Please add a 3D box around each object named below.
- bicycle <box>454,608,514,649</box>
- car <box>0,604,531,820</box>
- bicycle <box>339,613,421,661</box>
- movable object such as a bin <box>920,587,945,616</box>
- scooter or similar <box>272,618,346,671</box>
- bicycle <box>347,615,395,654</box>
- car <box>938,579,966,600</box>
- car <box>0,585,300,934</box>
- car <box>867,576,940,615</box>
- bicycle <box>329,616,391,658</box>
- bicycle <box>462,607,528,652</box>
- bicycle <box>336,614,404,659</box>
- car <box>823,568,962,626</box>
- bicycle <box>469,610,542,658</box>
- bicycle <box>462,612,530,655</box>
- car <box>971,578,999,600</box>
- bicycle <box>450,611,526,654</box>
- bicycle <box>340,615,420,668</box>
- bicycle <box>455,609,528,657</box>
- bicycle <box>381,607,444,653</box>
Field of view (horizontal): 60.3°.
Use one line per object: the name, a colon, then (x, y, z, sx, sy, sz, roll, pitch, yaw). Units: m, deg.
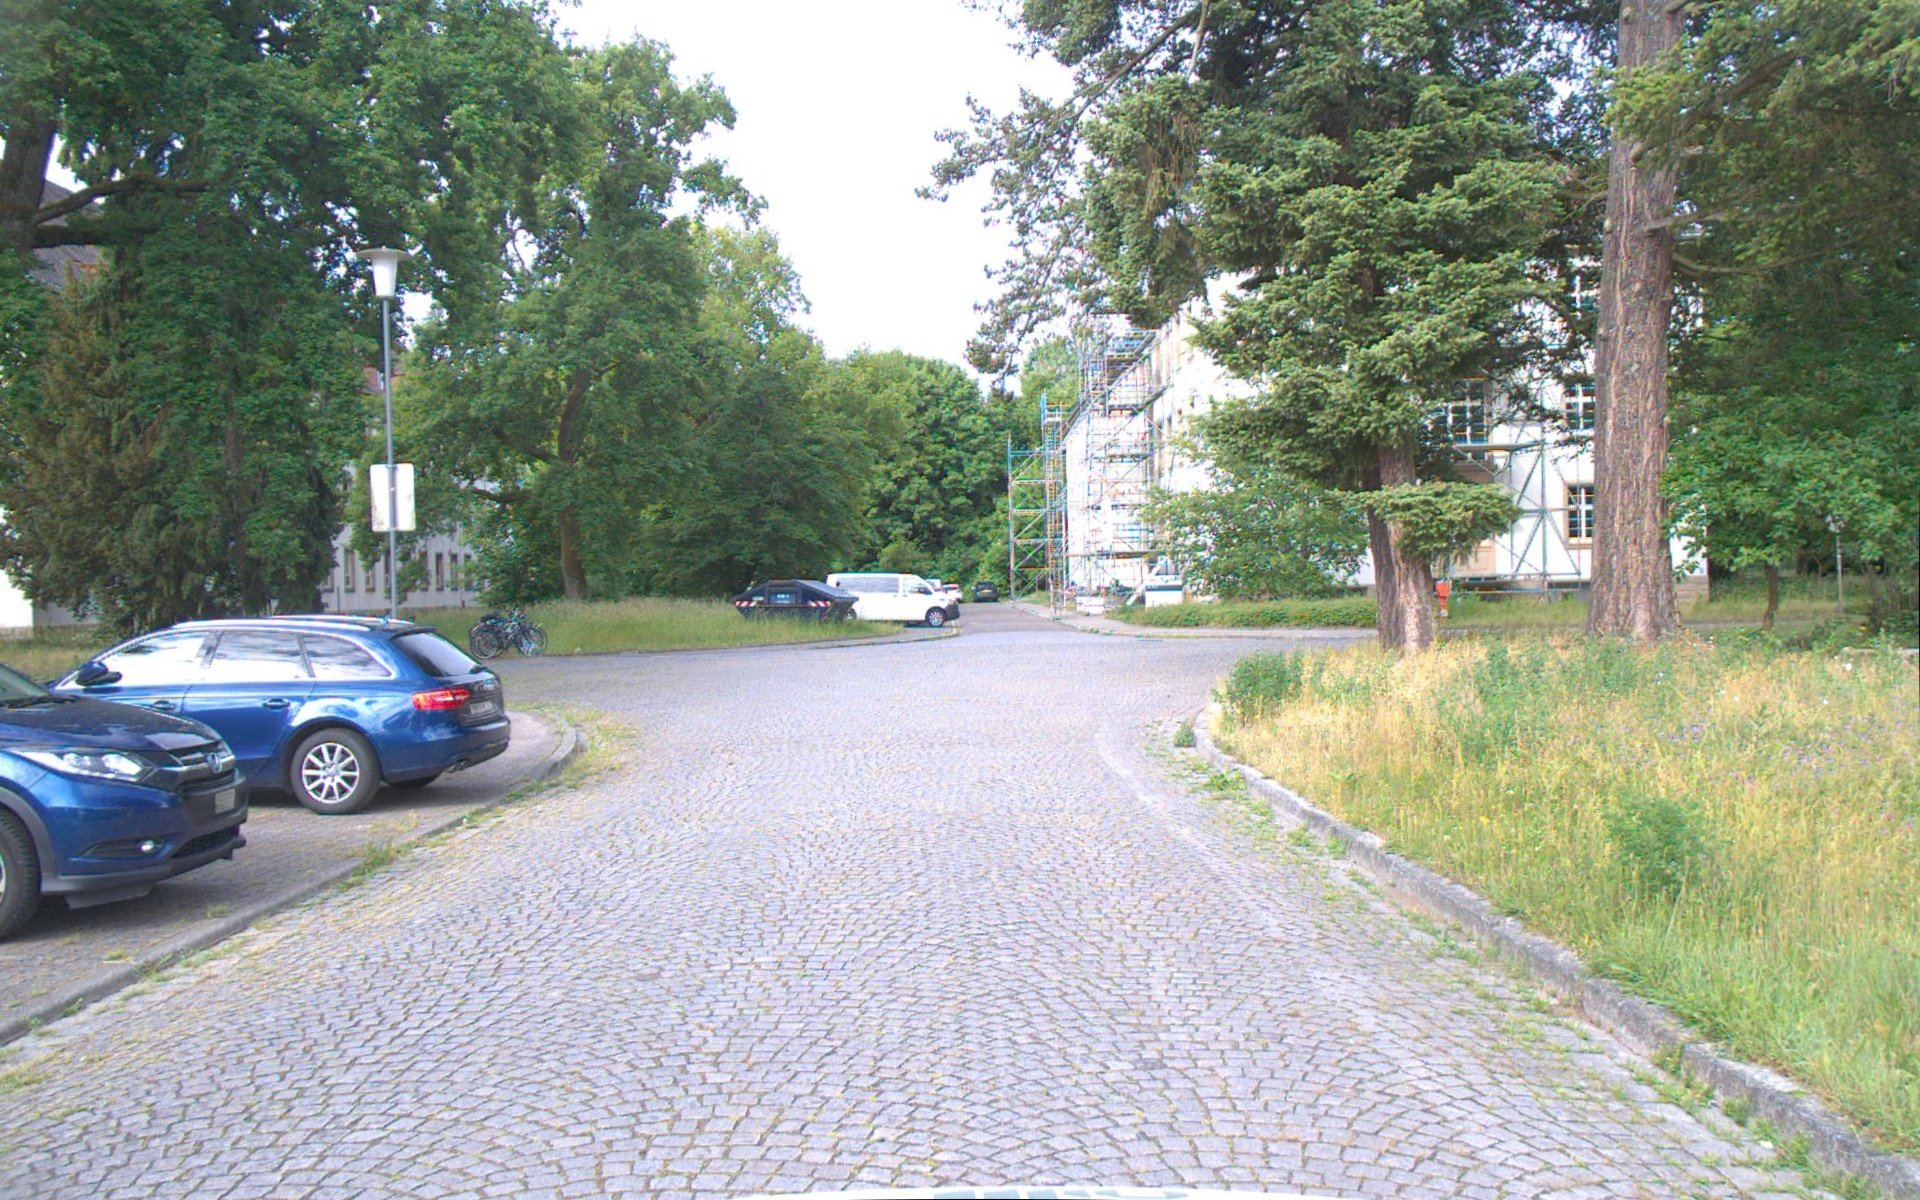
bicycle: (-13.786, 0.817, 47.898, 1.592, 1.077, 0.524, -3, 3, -20)
car: (-5.813, 0.844, 13.140, 4.341, 1.505, 1.682, -1, 1, -1)
bicycle: (-14.917, 0.949, 42.584, 1.956, 1.133, 0.640, -2, 2, -20)
movable object such as a bin: (-1.355, 0.082, 81.807, 1.159, 1.432, 0.975, 1, 0, 0)
scooter or similar: (-16.174, 1.105, 41.113, 1.515, 1.215, 0.682, -2, 1, 3)
bicycle: (-16.978, 0.996, 47.714, 1.240, 1.047, 0.431, -3, -1, -20)
car: (-0.629, -0.799, 128.239, 1.961, 1.575, 3.956, 1, 0, -3)
car: (-5.806, 0.786, 8.527, 4.055, 1.600, 1.789, -1, 0, -2)
car: (-3.088, -0.251, 89.832, 3.909, 2.049, 1.920, 1, 0, -5)
bicycle: (-16.371, 1.009, 45.153, 1.496, 1.053, 0.540, -2, 3, -31)
bicycle: (-13.193, 0.829, 46.947, 1.745, 1.124, 0.538, -3, 3, -20)
bicycle: (-15.683, 0.971, 43.950, 1.608, 1.092, 0.534, -2, 3, -31)
car: (-2.512, -0.101, 62.227, 5.095, 2.096, 2.187, 0, 0, -2)
bicycle: (-11.847, 0.881, 43.143, 1.742, 1.122, 0.699, -3, 3, -20)
bicycle: (-12.465, 0.904, 44.448, 1.666, 1.018, 0.629, -3, 3, -20)
car: (1.956, -0.857, 128.538, 2.020, 1.621, 4.001, 1, 0, 2)
bicycle: (-12.891, 0.881, 45.163, 1.925, 1.022, 0.682, -3, 3, -20)
bicycle: (-14.707, 1.041, 41.947, 1.867, 1.244, 0.640, -2, 2, -20)
bicycle: (-12.375, 0.874, 43.722, 1.767, 1.122, 0.699, -3, 3, -20)
bicycle: (-15.387, 0.836, 46.488, 1.619, 1.206, 0.569, -2, 3, -27)
